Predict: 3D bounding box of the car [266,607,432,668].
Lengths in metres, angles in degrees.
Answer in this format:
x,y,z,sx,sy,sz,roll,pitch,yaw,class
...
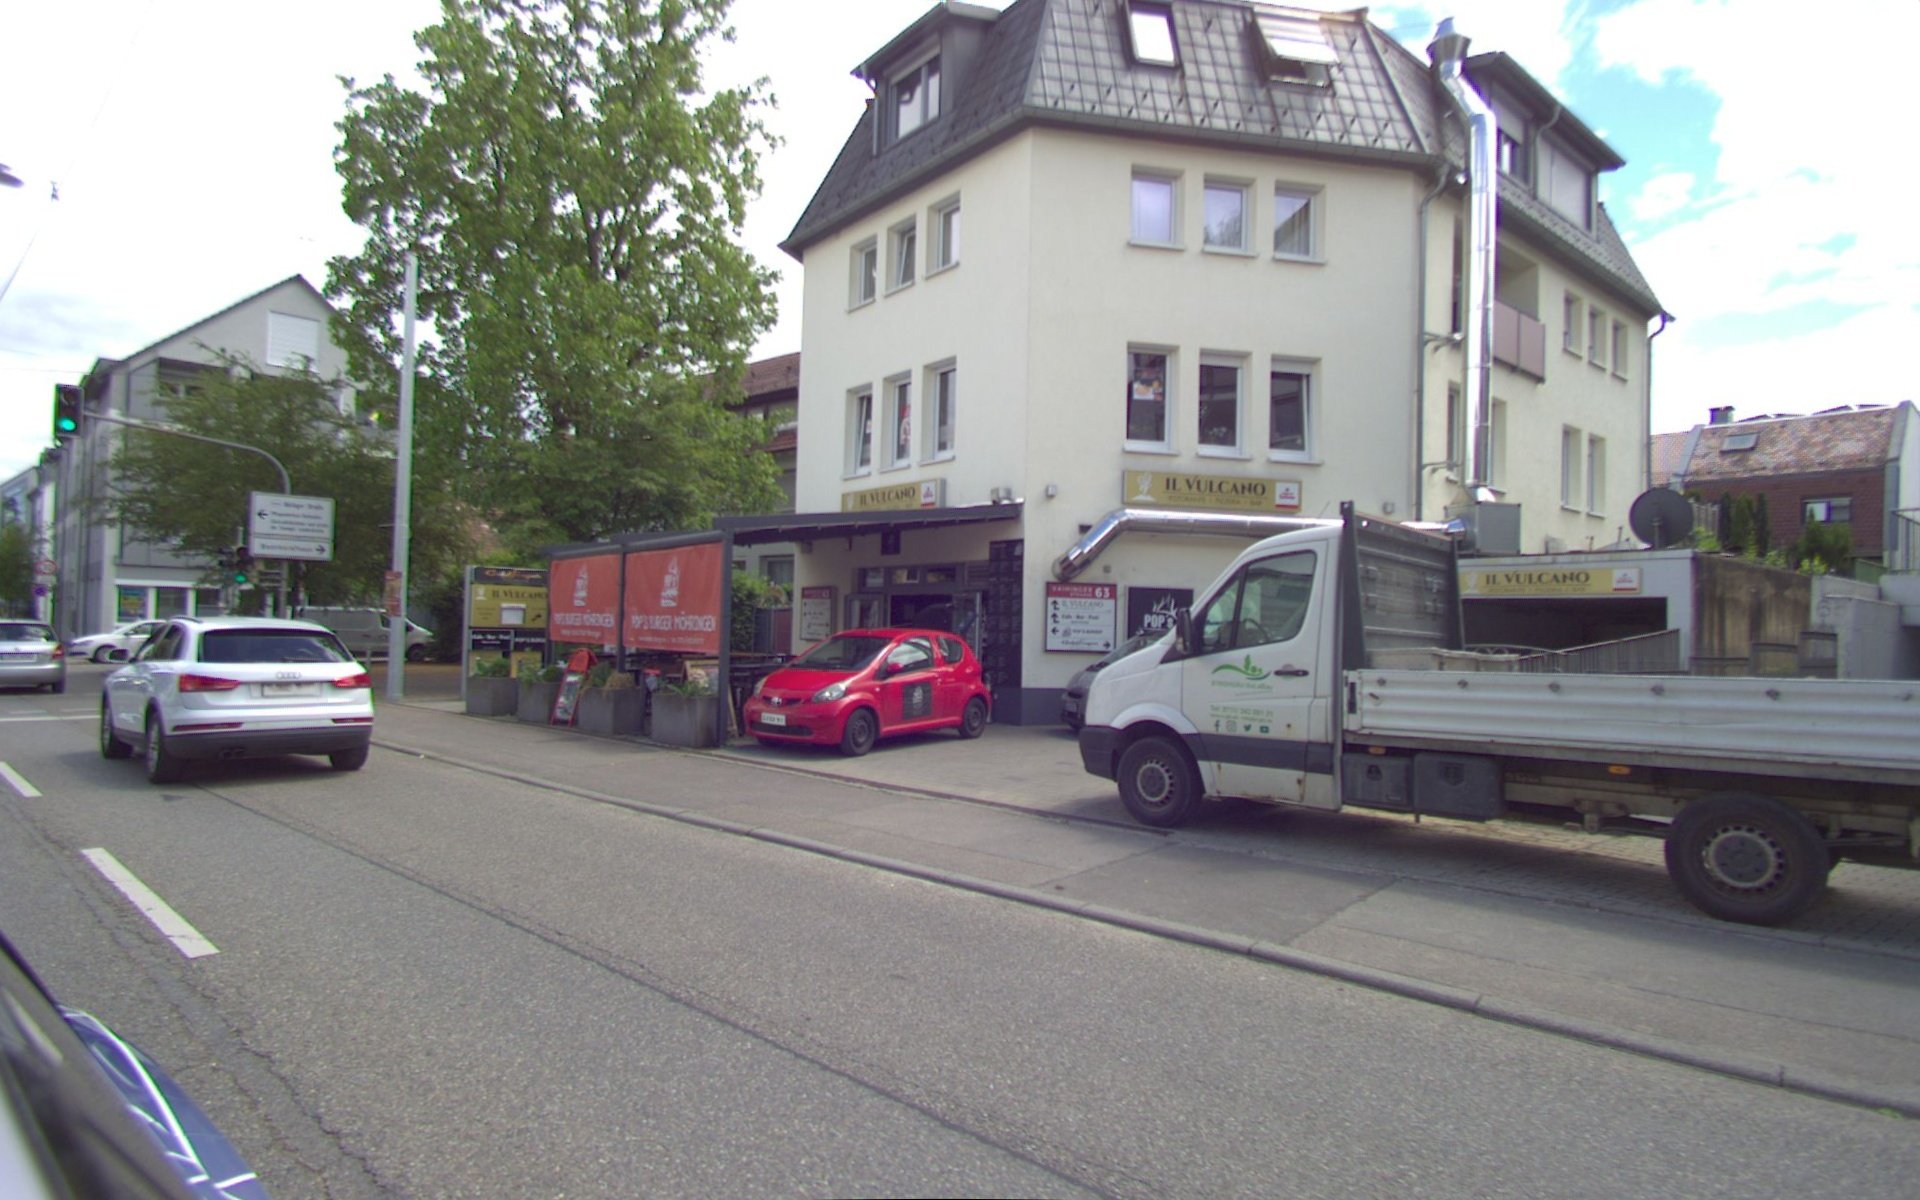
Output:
x,y,z,sx,sy,sz,roll,pitch,yaw,class
-21.586,1.312,35.907,2.093,2.024,4.575,-1,-2,39,car

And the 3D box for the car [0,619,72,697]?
x,y,z,sx,sy,sz,roll,pitch,yaw,class
-19.868,1.155,20.963,3.809,1.498,1.601,-1,-3,40,car

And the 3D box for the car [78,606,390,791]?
x,y,z,sx,sy,sz,roll,pitch,yaw,class
-7.836,0.936,10.776,4.158,1.583,1.786,-1,-5,42,car

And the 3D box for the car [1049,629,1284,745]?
x,y,z,sx,sy,sz,roll,pitch,yaw,class
2.835,1.190,14.178,2.802,1.481,1.569,2,-2,-10,car

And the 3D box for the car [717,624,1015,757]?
x,y,z,sx,sy,sz,roll,pitch,yaw,class
-1.074,1.035,12.951,1.802,1.436,3.657,-1,-2,38,car

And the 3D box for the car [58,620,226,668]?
x,y,z,sx,sy,sz,roll,pitch,yaw,class
-27.486,1.460,34.108,1.821,1.525,4.167,-3,-3,41,car

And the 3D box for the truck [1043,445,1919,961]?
x,y,z,sx,sy,sz,roll,pitch,yaw,class
3.714,0.518,7.024,6.329,2.398,2.199,-1,-2,45,truck
